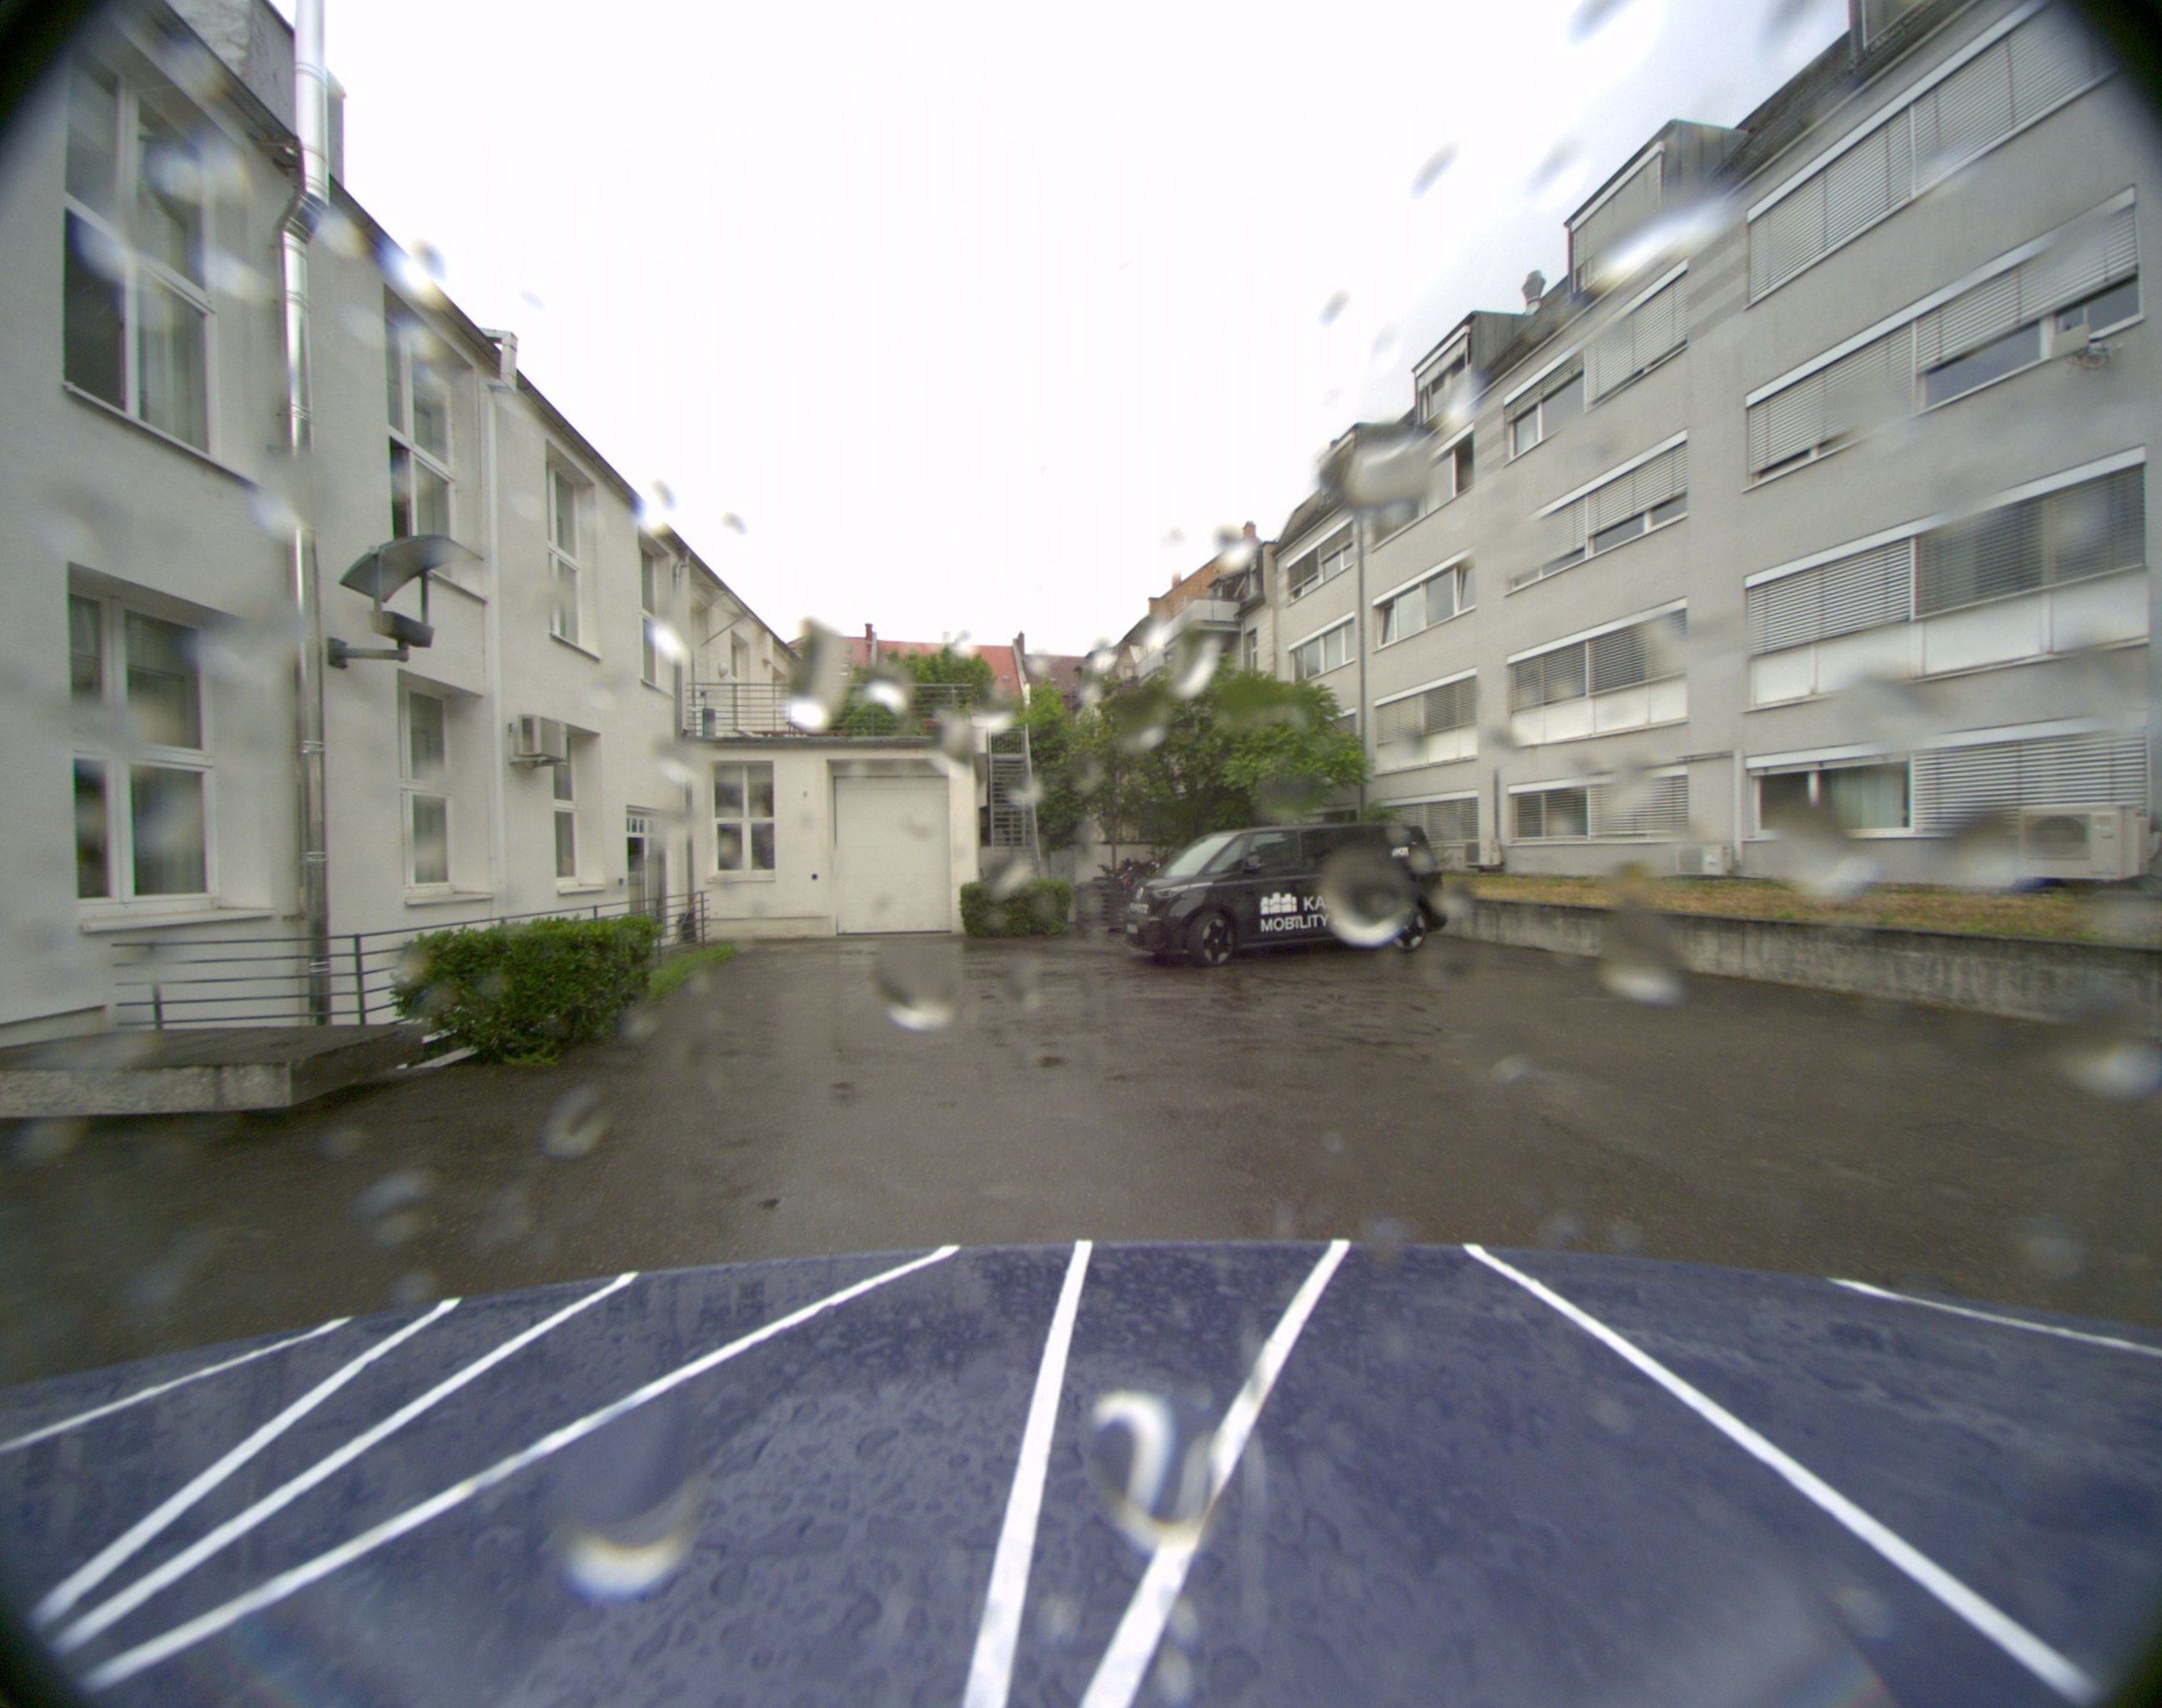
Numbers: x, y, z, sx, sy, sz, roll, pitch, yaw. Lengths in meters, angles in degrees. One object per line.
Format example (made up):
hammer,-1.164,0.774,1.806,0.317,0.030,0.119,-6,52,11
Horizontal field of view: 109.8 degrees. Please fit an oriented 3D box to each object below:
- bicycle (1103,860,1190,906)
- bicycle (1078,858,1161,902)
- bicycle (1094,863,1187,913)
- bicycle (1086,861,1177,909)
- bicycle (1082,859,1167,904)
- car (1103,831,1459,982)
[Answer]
bicycle,1.811,0.782,21.089,2.320,1.180,0.643,-1,3,-7
bicycle,1.109,0.743,22.145,2.320,1.180,0.643,-1,3,-7
bicycle,1.523,0.855,19.582,2.320,1.180,0.643,-1,3,-7
bicycle,1.345,0.822,20.363,2.320,1.180,0.643,-1,3,-7
bicycle,1.236,0.770,21.524,2.320,1.180,0.643,-1,3,-7
car,2.839,0.667,11.153,4.633,1.826,1.986,-1,0,-14
